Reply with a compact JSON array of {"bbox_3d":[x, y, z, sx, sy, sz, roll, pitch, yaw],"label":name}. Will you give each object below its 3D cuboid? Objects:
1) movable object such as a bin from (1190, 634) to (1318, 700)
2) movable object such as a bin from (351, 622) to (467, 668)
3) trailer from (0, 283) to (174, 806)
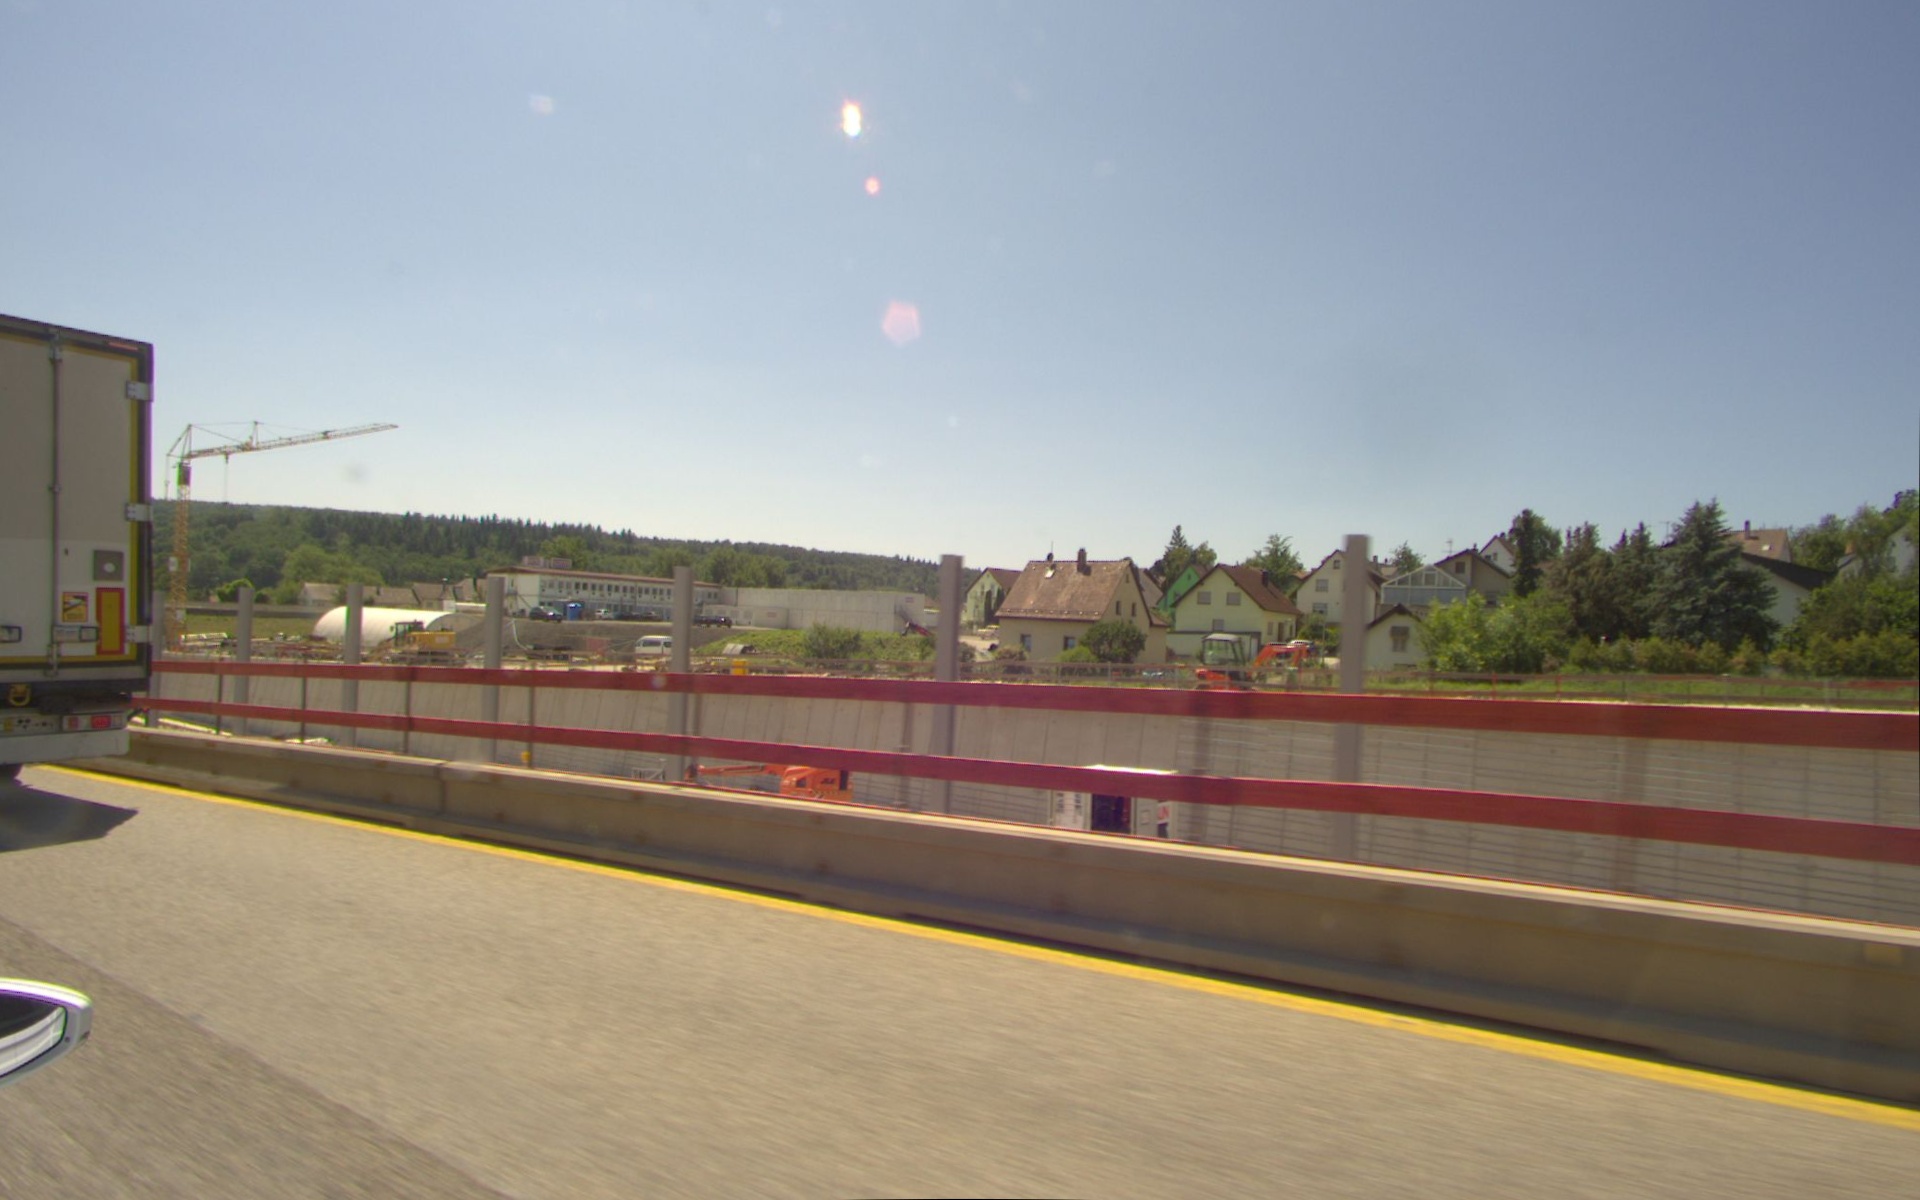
[{"bbox_3d":[10.660,2.367,36.414,4.093,2.267,1.990,-1,-2,33],"label":"movable object such as a bin"},{"bbox_3d":[-37.587,3.000,68.187,9.346,2.946,2.882,-1,-2,33],"label":"movable object such as a bin"},{"bbox_3d":[-13.528,-0.312,11.406,13.917,4.110,2.796,-1,-2,33],"label":"trailer"}]
